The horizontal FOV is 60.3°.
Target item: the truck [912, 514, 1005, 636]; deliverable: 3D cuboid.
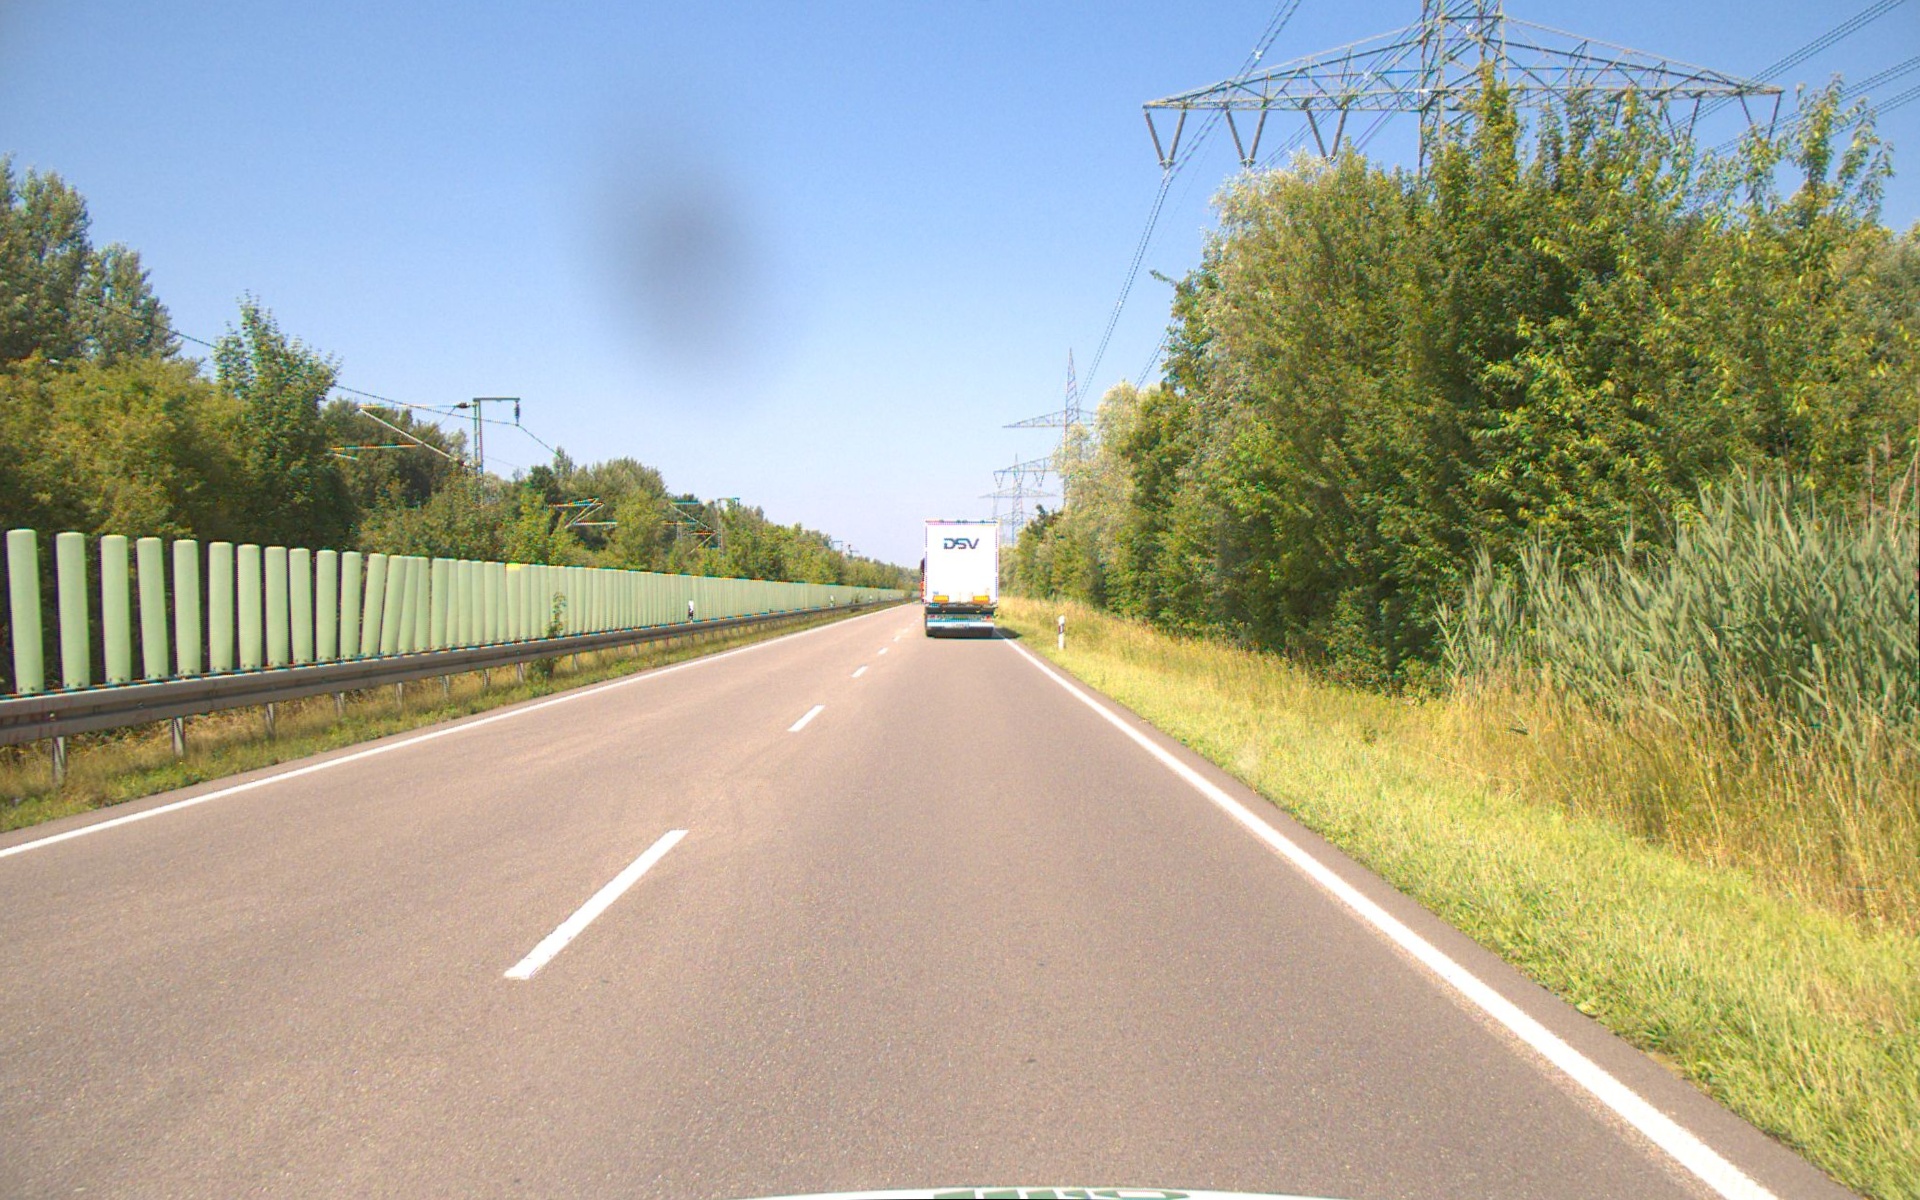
[{"bbox_3d":[-0.163,-0.884,61.961,3.127,4.113,12.004,0,0,-1],"label":"truck"}]
